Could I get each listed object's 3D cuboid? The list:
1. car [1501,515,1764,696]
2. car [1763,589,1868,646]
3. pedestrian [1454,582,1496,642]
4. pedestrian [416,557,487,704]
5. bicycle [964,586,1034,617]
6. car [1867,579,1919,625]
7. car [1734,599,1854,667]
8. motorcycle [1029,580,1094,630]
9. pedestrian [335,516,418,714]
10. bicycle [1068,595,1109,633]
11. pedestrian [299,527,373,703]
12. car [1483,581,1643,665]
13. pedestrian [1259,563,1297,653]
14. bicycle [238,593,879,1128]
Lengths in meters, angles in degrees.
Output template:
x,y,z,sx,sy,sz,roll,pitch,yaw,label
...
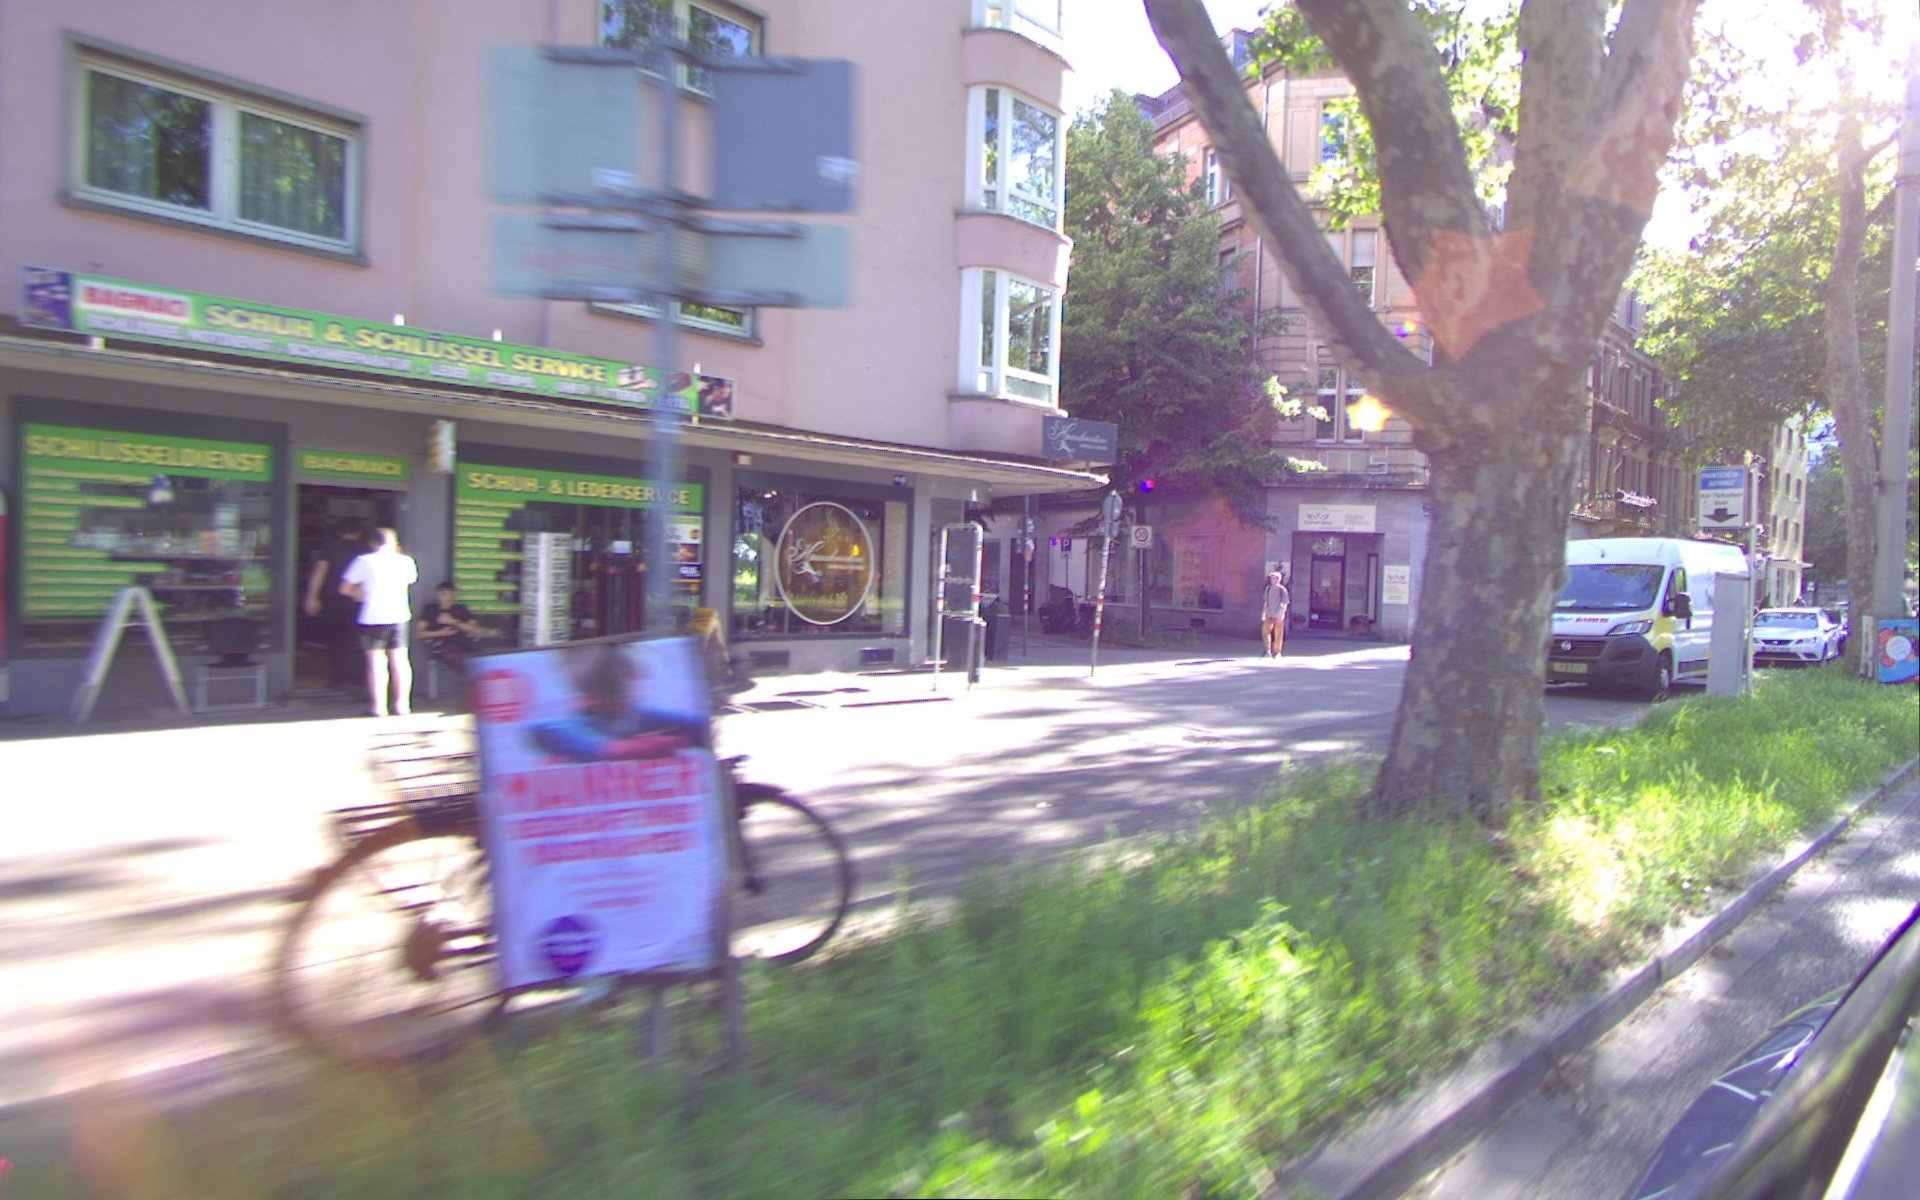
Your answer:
x,y,z,sx,sy,sz,roll,pitch,yaw,label
11.067,0.057,16.441,5.753,2.465,2.077,0,1,-41,car
24.792,0.470,29.297,3.931,1.482,1.751,0,2,-41,car
13.835,0.310,27.186,0.718,1.585,0.738,1,1,-41,pedestrian
-5.391,0.303,10.713,0.507,1.488,0.698,1,1,-40,pedestrian
1.313,0.054,34.320,2.330,0.959,0.530,2,1,6,bicycle
38.174,0.062,40.958,3.858,1.764,1.713,0,1,-41,car
20.903,0.761,25.315,4.116,1.531,1.648,0,1,-41,car
3.173,0.122,31.235,0.958,1.418,3.172,2,1,26,motorcycle
-5.438,0.130,9.434,0.571,1.775,0.418,1,4,-41,pedestrian
3.701,0.382,29.042,0.537,1.018,1.887,2,1,27,bicycle
-6.243,0.126,10.113,0.502,1.670,0.685,1,4,-40,pedestrian
13.221,0.452,22.089,4.064,1.621,1.813,0,1,-41,car
6.661,0.158,21.188,0.609,1.838,0.625,2,1,28,pedestrian
-1.107,0.607,3.052,1.718,1.229,0.466,1,1,-38,bicycle
